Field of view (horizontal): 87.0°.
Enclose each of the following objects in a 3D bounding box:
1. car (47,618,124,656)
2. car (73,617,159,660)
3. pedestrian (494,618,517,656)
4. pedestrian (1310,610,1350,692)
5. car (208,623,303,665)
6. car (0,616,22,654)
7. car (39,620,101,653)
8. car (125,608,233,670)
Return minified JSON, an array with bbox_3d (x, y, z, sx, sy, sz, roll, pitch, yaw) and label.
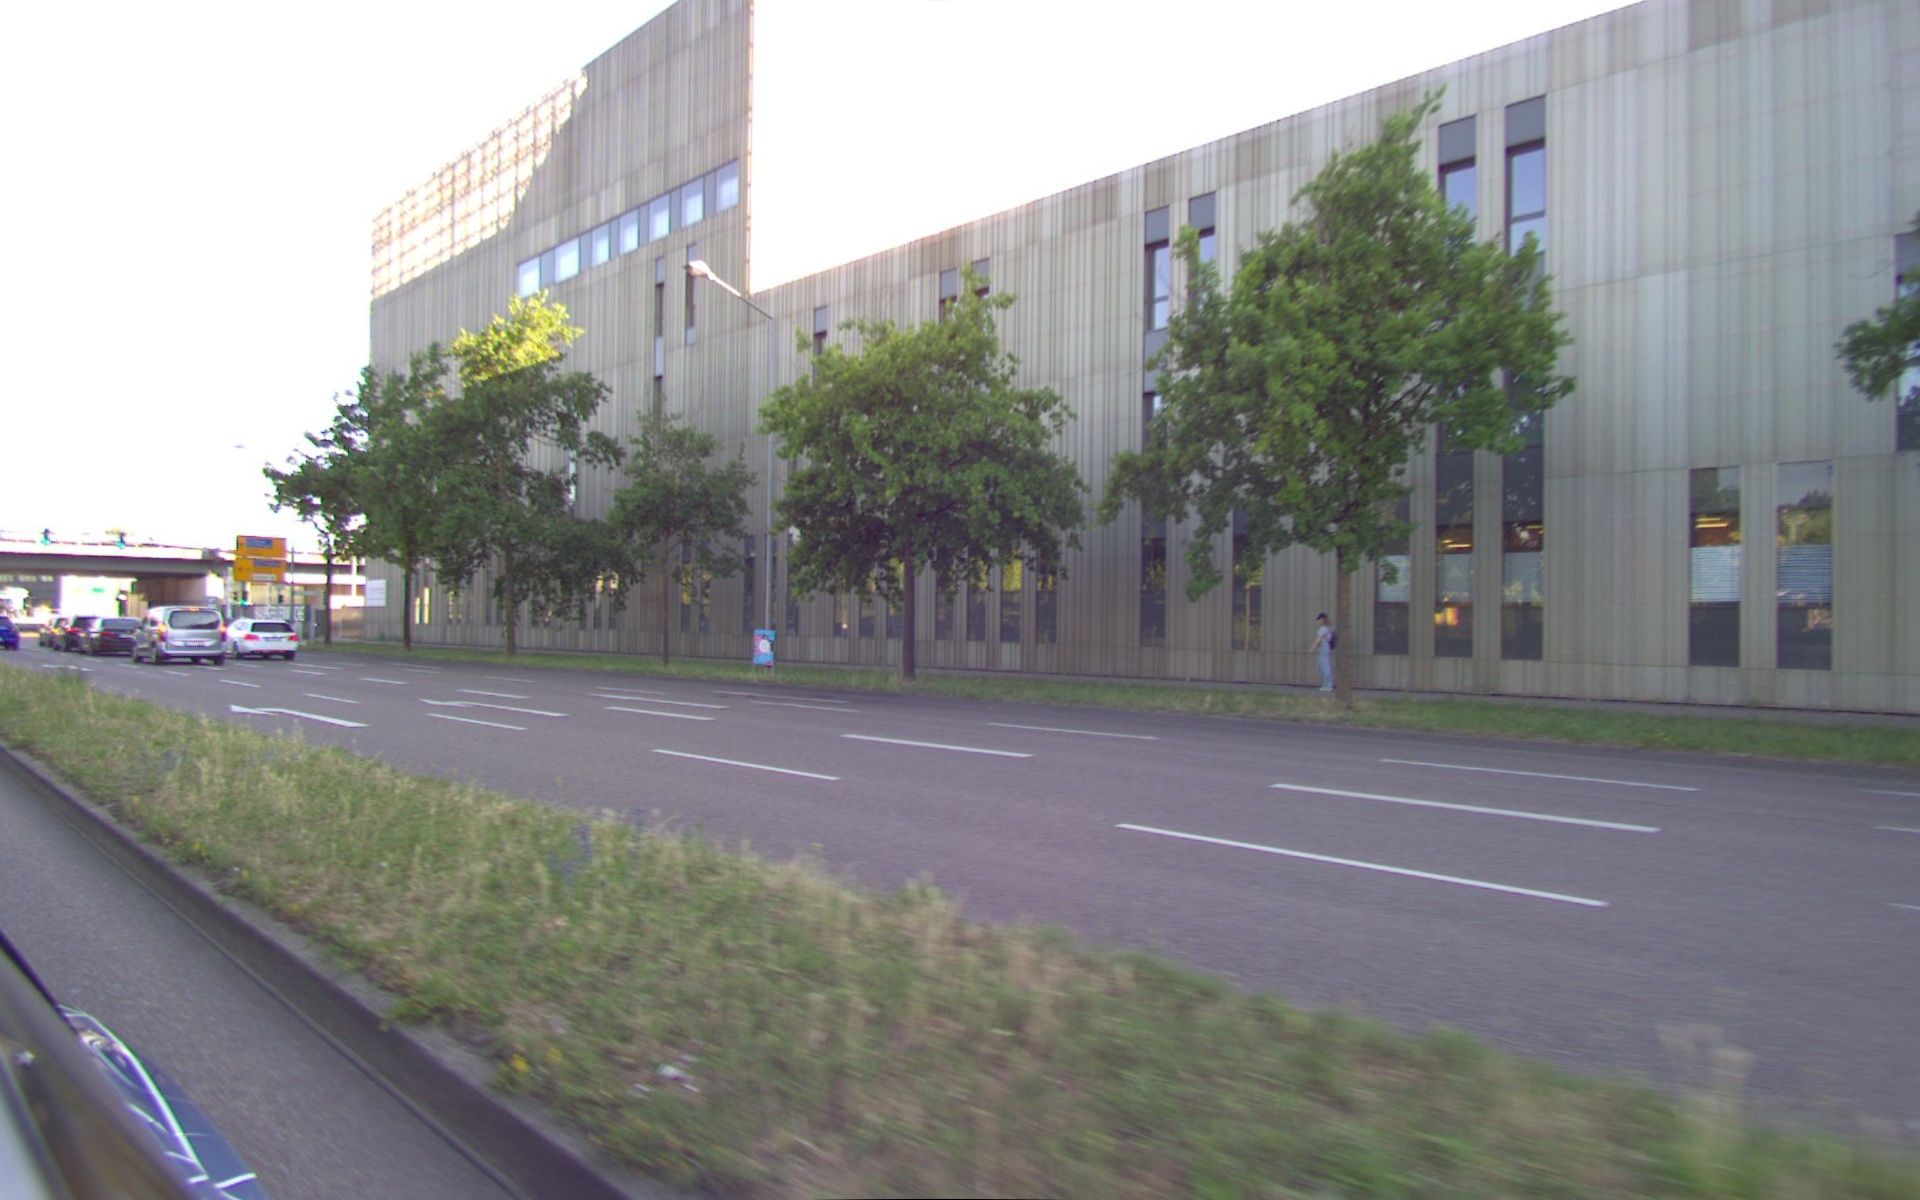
[{"bbox_3d":[-36.593,1.538,42.313,3.998,1.530,1.905,-1,-3,42],"label":"car"},{"bbox_3d":[-31.986,1.447,38.314,4.290,1.530,1.904,-1,-3,43],"label":"car"},{"bbox_3d":[-19.963,1.632,44.432,0.725,1.641,0.689,-1,-2,41],"label":"pedestrian"},{"bbox_3d":[8.244,1.121,22.537,0.649,1.781,0.596,-1,-2,42],"label":"pedestrian"},{"bbox_3d":[-26.491,1.624,37.983,4.814,1.484,1.826,-1,-3,42],"label":"car"},{"bbox_3d":[-40.150,1.416,41.642,3.950,1.530,1.817,-1,-3,41],"label":"car"},{"bbox_3d":[-41.380,1.690,47.027,3.770,1.444,1.673,-1,-3,42],"label":"car"},{"bbox_3d":[-24.821,1.225,32.103,4.401,1.830,1.972,-1,-3,43],"label":"car"}]
